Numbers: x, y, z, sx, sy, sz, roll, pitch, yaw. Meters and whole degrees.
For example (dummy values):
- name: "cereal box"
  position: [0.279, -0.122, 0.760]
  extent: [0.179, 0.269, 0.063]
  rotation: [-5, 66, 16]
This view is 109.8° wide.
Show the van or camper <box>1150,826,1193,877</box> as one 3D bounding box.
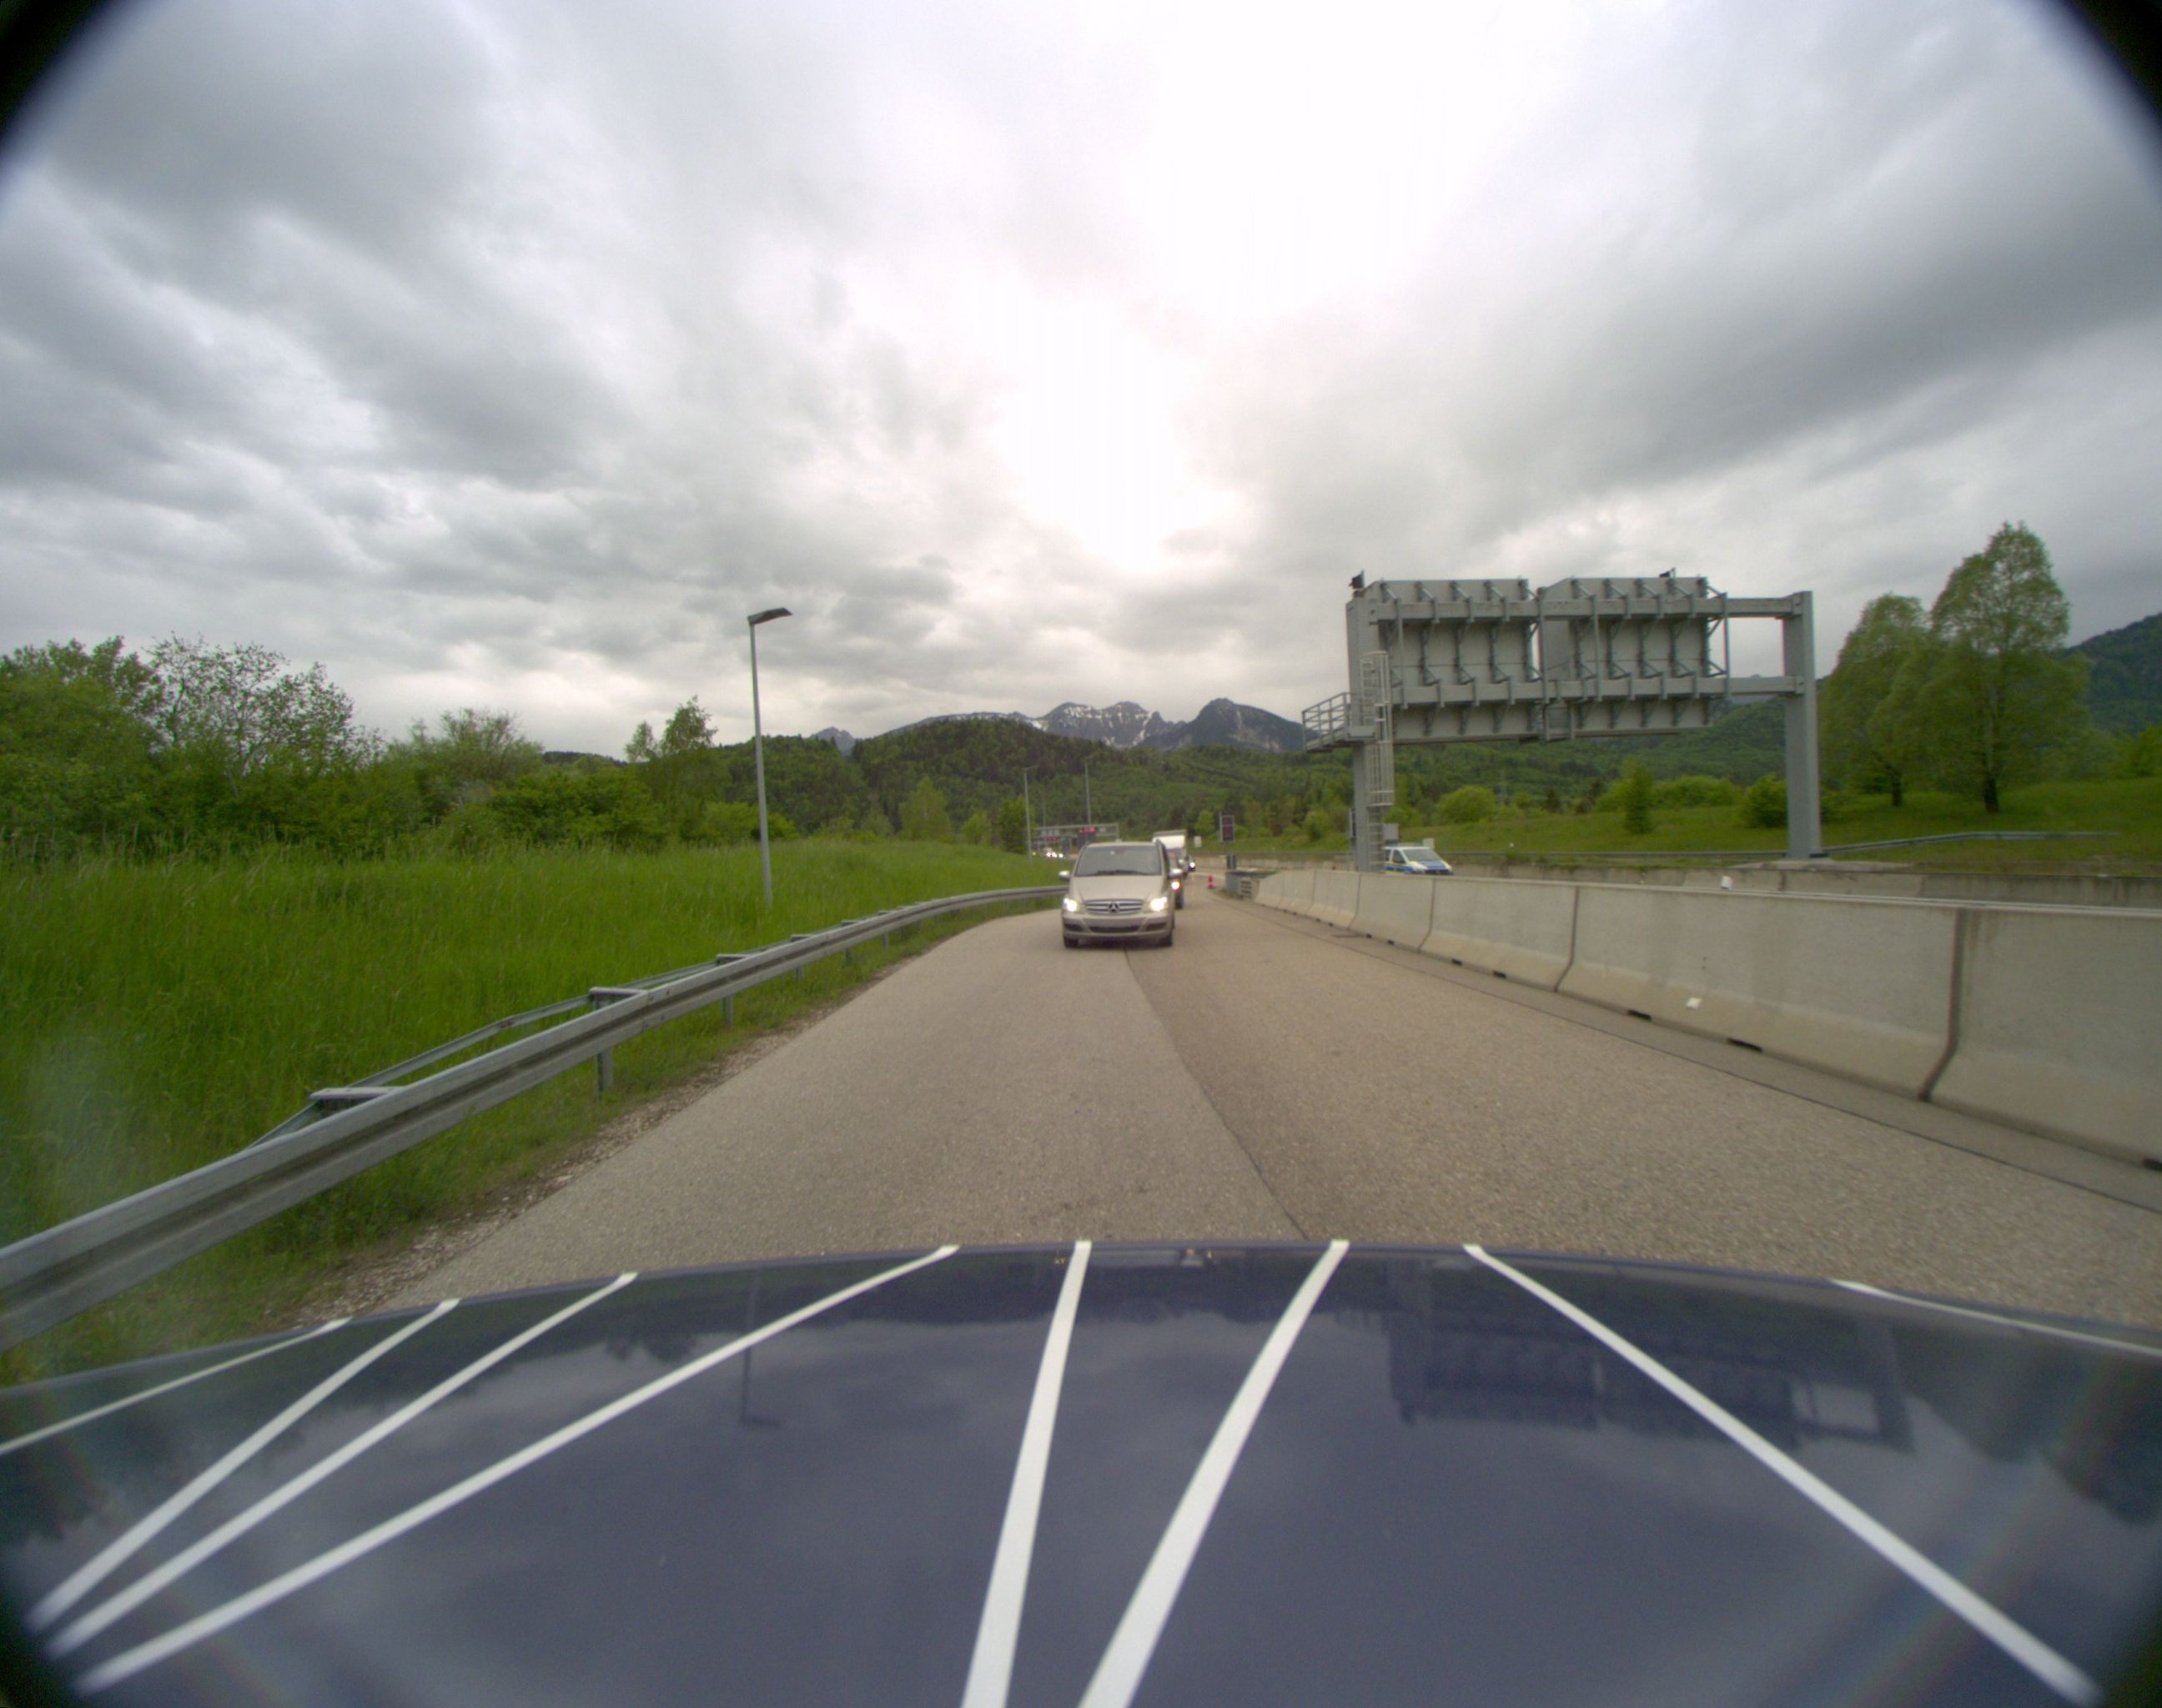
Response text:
- name: "van or camper"
  position: [6.530, -0.190, 54.211]
  extent: [2.580, 3.372, 7.361]
  rotation: [-1, 0, 10]

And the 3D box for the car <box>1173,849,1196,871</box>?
- name: "car"
  position: [8.788, 0.481, 65.027]
  extent: [1.741, 1.754, 4.001]
  rotation: [-4, 0, 6]

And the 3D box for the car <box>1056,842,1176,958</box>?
- name: "car"
  position: [0.902, 0.715, 14.905]
  extent: [1.861, 1.833, 5.620]
  rotation: [-1, 0, 7]

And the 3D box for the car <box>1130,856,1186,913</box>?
- name: "car"
  position: [2.521, 0.904, 24.254]
  extent: [1.590, 1.662, 4.003]
  rotation: [-1, 0, 8]

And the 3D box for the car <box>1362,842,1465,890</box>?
- name: "car"
  position: [14.966, 0.487, 34.581]
  extent: [2.105, 2.002, 5.049]
  rotation: [-1, 0, -6]

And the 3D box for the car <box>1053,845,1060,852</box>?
- name: "car"
  position: [-6.917, -1.580, 212.853]
  extent: [1.703, 1.712, 3.998]
  rotation: [-2, 0, -6]
